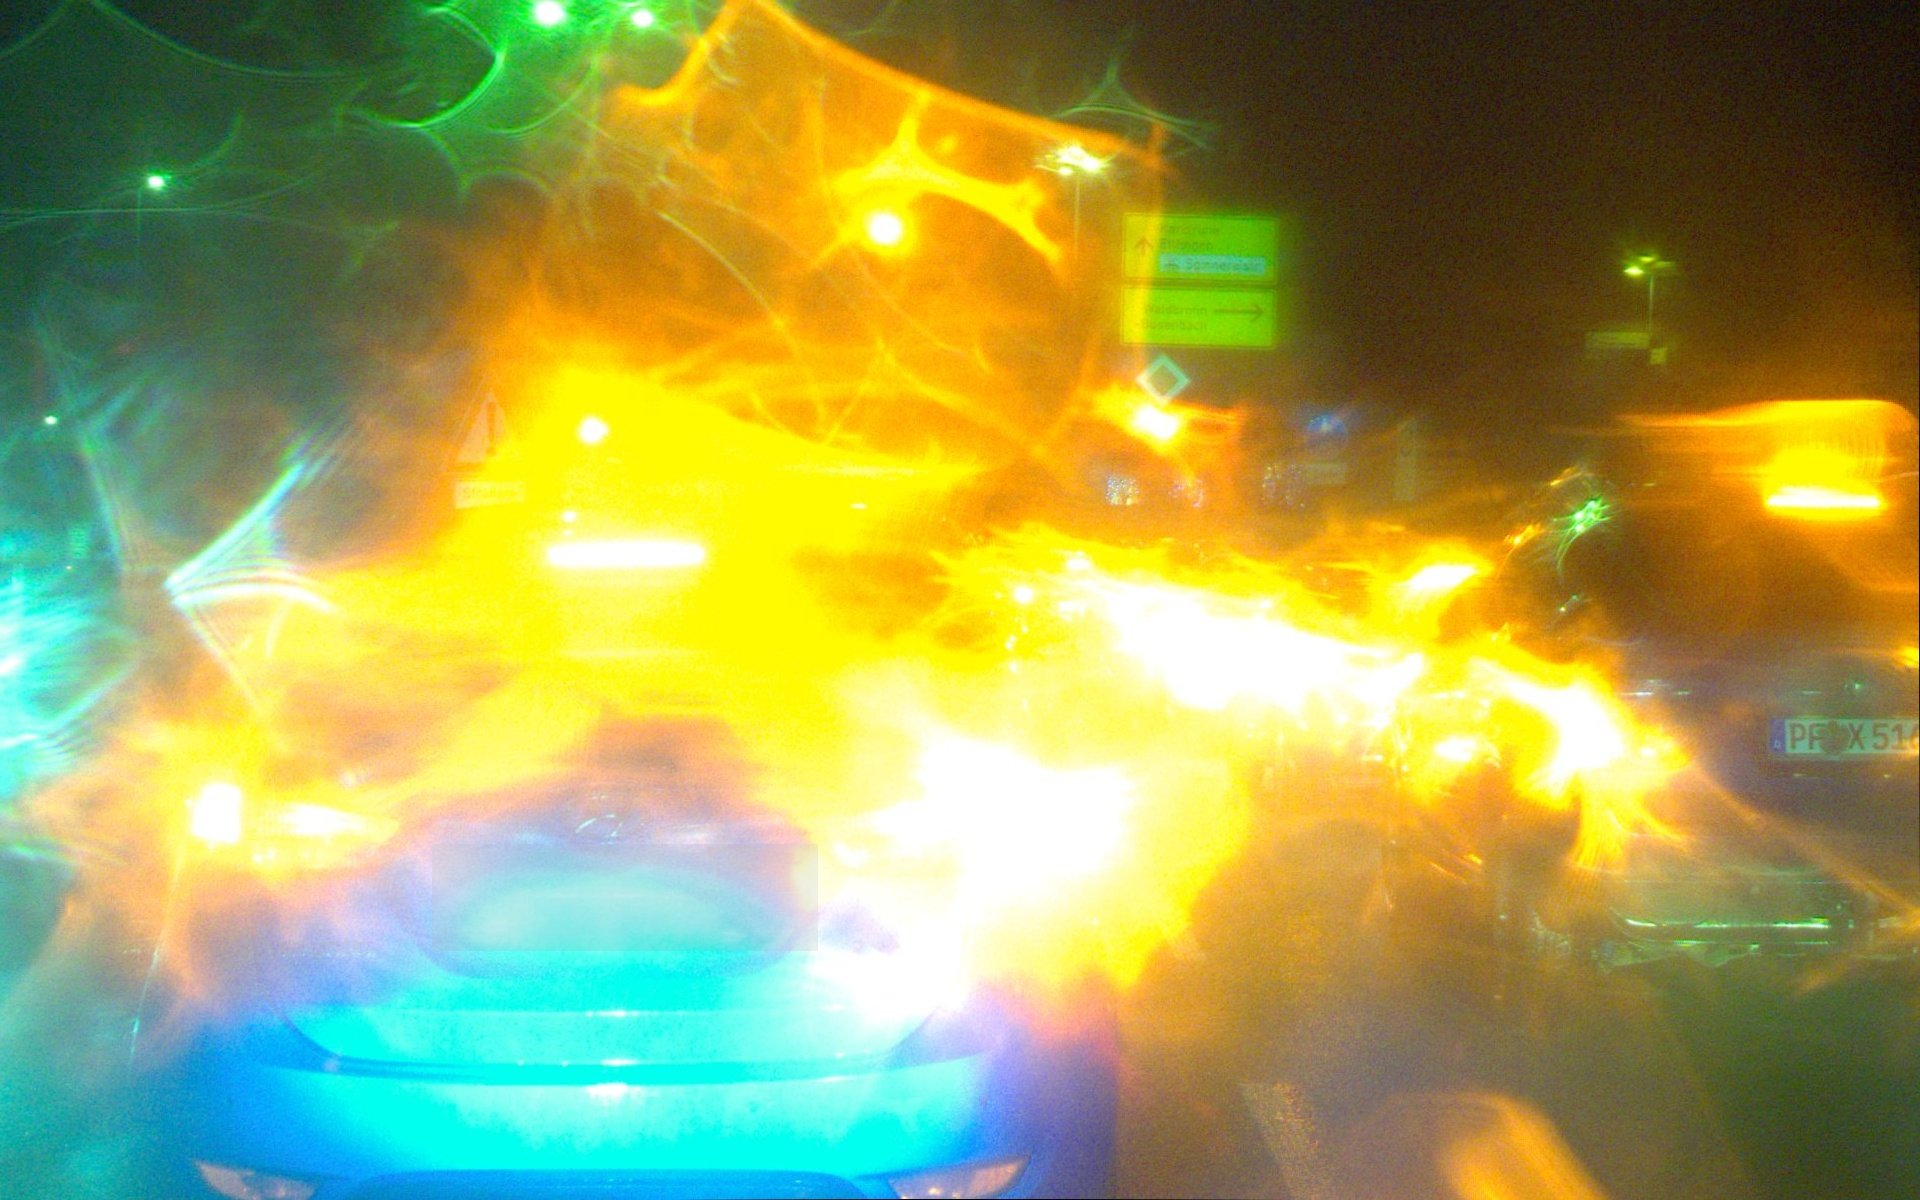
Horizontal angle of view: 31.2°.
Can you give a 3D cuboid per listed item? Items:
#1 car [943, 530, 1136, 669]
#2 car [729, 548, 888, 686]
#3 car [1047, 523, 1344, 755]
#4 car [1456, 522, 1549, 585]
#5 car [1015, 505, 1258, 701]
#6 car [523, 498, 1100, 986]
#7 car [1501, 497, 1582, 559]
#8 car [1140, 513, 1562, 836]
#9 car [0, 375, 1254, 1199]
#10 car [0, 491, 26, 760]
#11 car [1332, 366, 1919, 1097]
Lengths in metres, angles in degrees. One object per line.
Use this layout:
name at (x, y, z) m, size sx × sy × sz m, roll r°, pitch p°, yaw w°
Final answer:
car at (0.887, -0.023, 40.577) m, size 1.857 × 1.539 × 3.931 m, roll 1°, pitch 1°, yaw -5°
car at (-2.160, 0.212, 47.973) m, size 1.993 × 1.818 × 4.001 m, roll 1°, pitch 1°, yaw -5°
car at (1.768, 0.263, 27.082) m, size 1.993 × 1.664 × 4.000 m, roll 1°, pitch 1°, yaw -1°
car at (14.845, -1.263, 94.323) m, size 1.865 × 1.641 × 3.963 m, roll -2°, pitch 1°, yaw 0°
car at (1.652, 0.008, 33.499) m, size 1.993 × 1.767 × 4.000 m, roll 1°, pitch 1°, yaw -2°
car at (-0.545, 0.479, 14.026) m, size 1.993 × 1.678 × 4.000 m, roll 1°, pitch 1°, yaw -1°
car at (19.502, -2.410, 115.442) m, size 1.993 × 2.007 × 4.000 m, roll 1°, pitch 1°, yaw -1°
car at (2.214, 0.383, 20.543) m, size 1.993 × 1.712 × 4.000 m, roll 1°, pitch 1°, yaw -1°
car at (-0.643, 0.487, 7.763) m, size 2.014 × 1.711 × 4.452 m, roll 1°, pitch 1°, yaw -3°
car at (-6.486, 0.216, 18.425) m, size 1.887 × 1.563 × 4.486 m, roll 0°, pitch 2°, yaw -2°
car at (2.501, 0.357, 11.672) m, size 1.968 × 2.040 × 4.000 m, roll 1°, pitch 1°, yaw -1°
